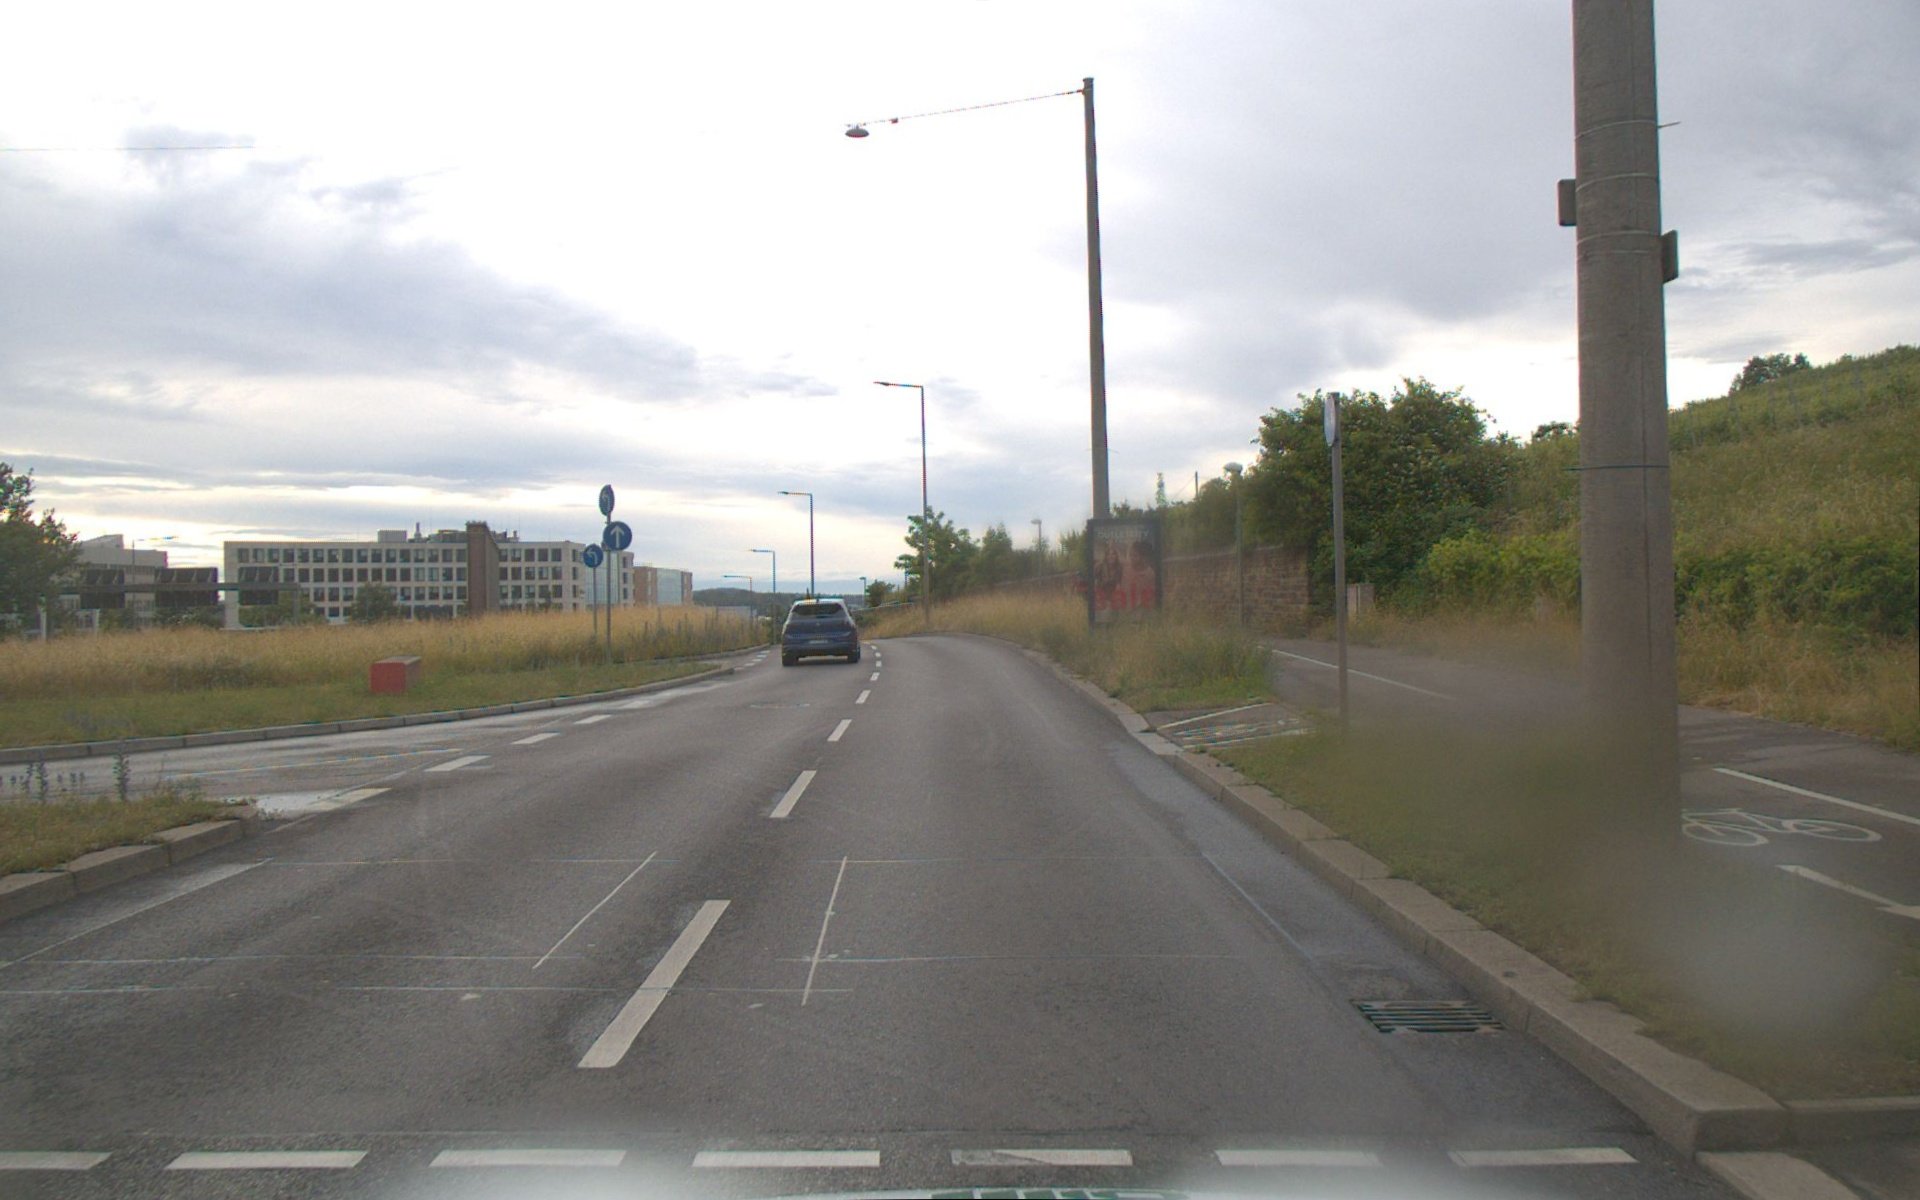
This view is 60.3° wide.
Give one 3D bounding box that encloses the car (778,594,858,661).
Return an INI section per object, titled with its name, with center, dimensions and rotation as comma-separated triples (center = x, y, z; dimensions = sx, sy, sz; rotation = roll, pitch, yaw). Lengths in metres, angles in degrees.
[car]
center = -3.240, 0.625, 38.258
dimensions = 1.714, 1.445, 3.476
rotation = 1, 0, -3

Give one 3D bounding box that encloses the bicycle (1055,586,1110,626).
[bicycle]
center = 4.201, 0.231, 56.954
dimensions = 0.854, 1.311, 3.474
rotation = 2, -2, -13

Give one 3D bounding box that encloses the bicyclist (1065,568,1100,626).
[bicyclist]
center = 4.205, -0.093, 56.985
dimensions = 0.854, 1.942, 1.289
rotation = 1, -2, -14
